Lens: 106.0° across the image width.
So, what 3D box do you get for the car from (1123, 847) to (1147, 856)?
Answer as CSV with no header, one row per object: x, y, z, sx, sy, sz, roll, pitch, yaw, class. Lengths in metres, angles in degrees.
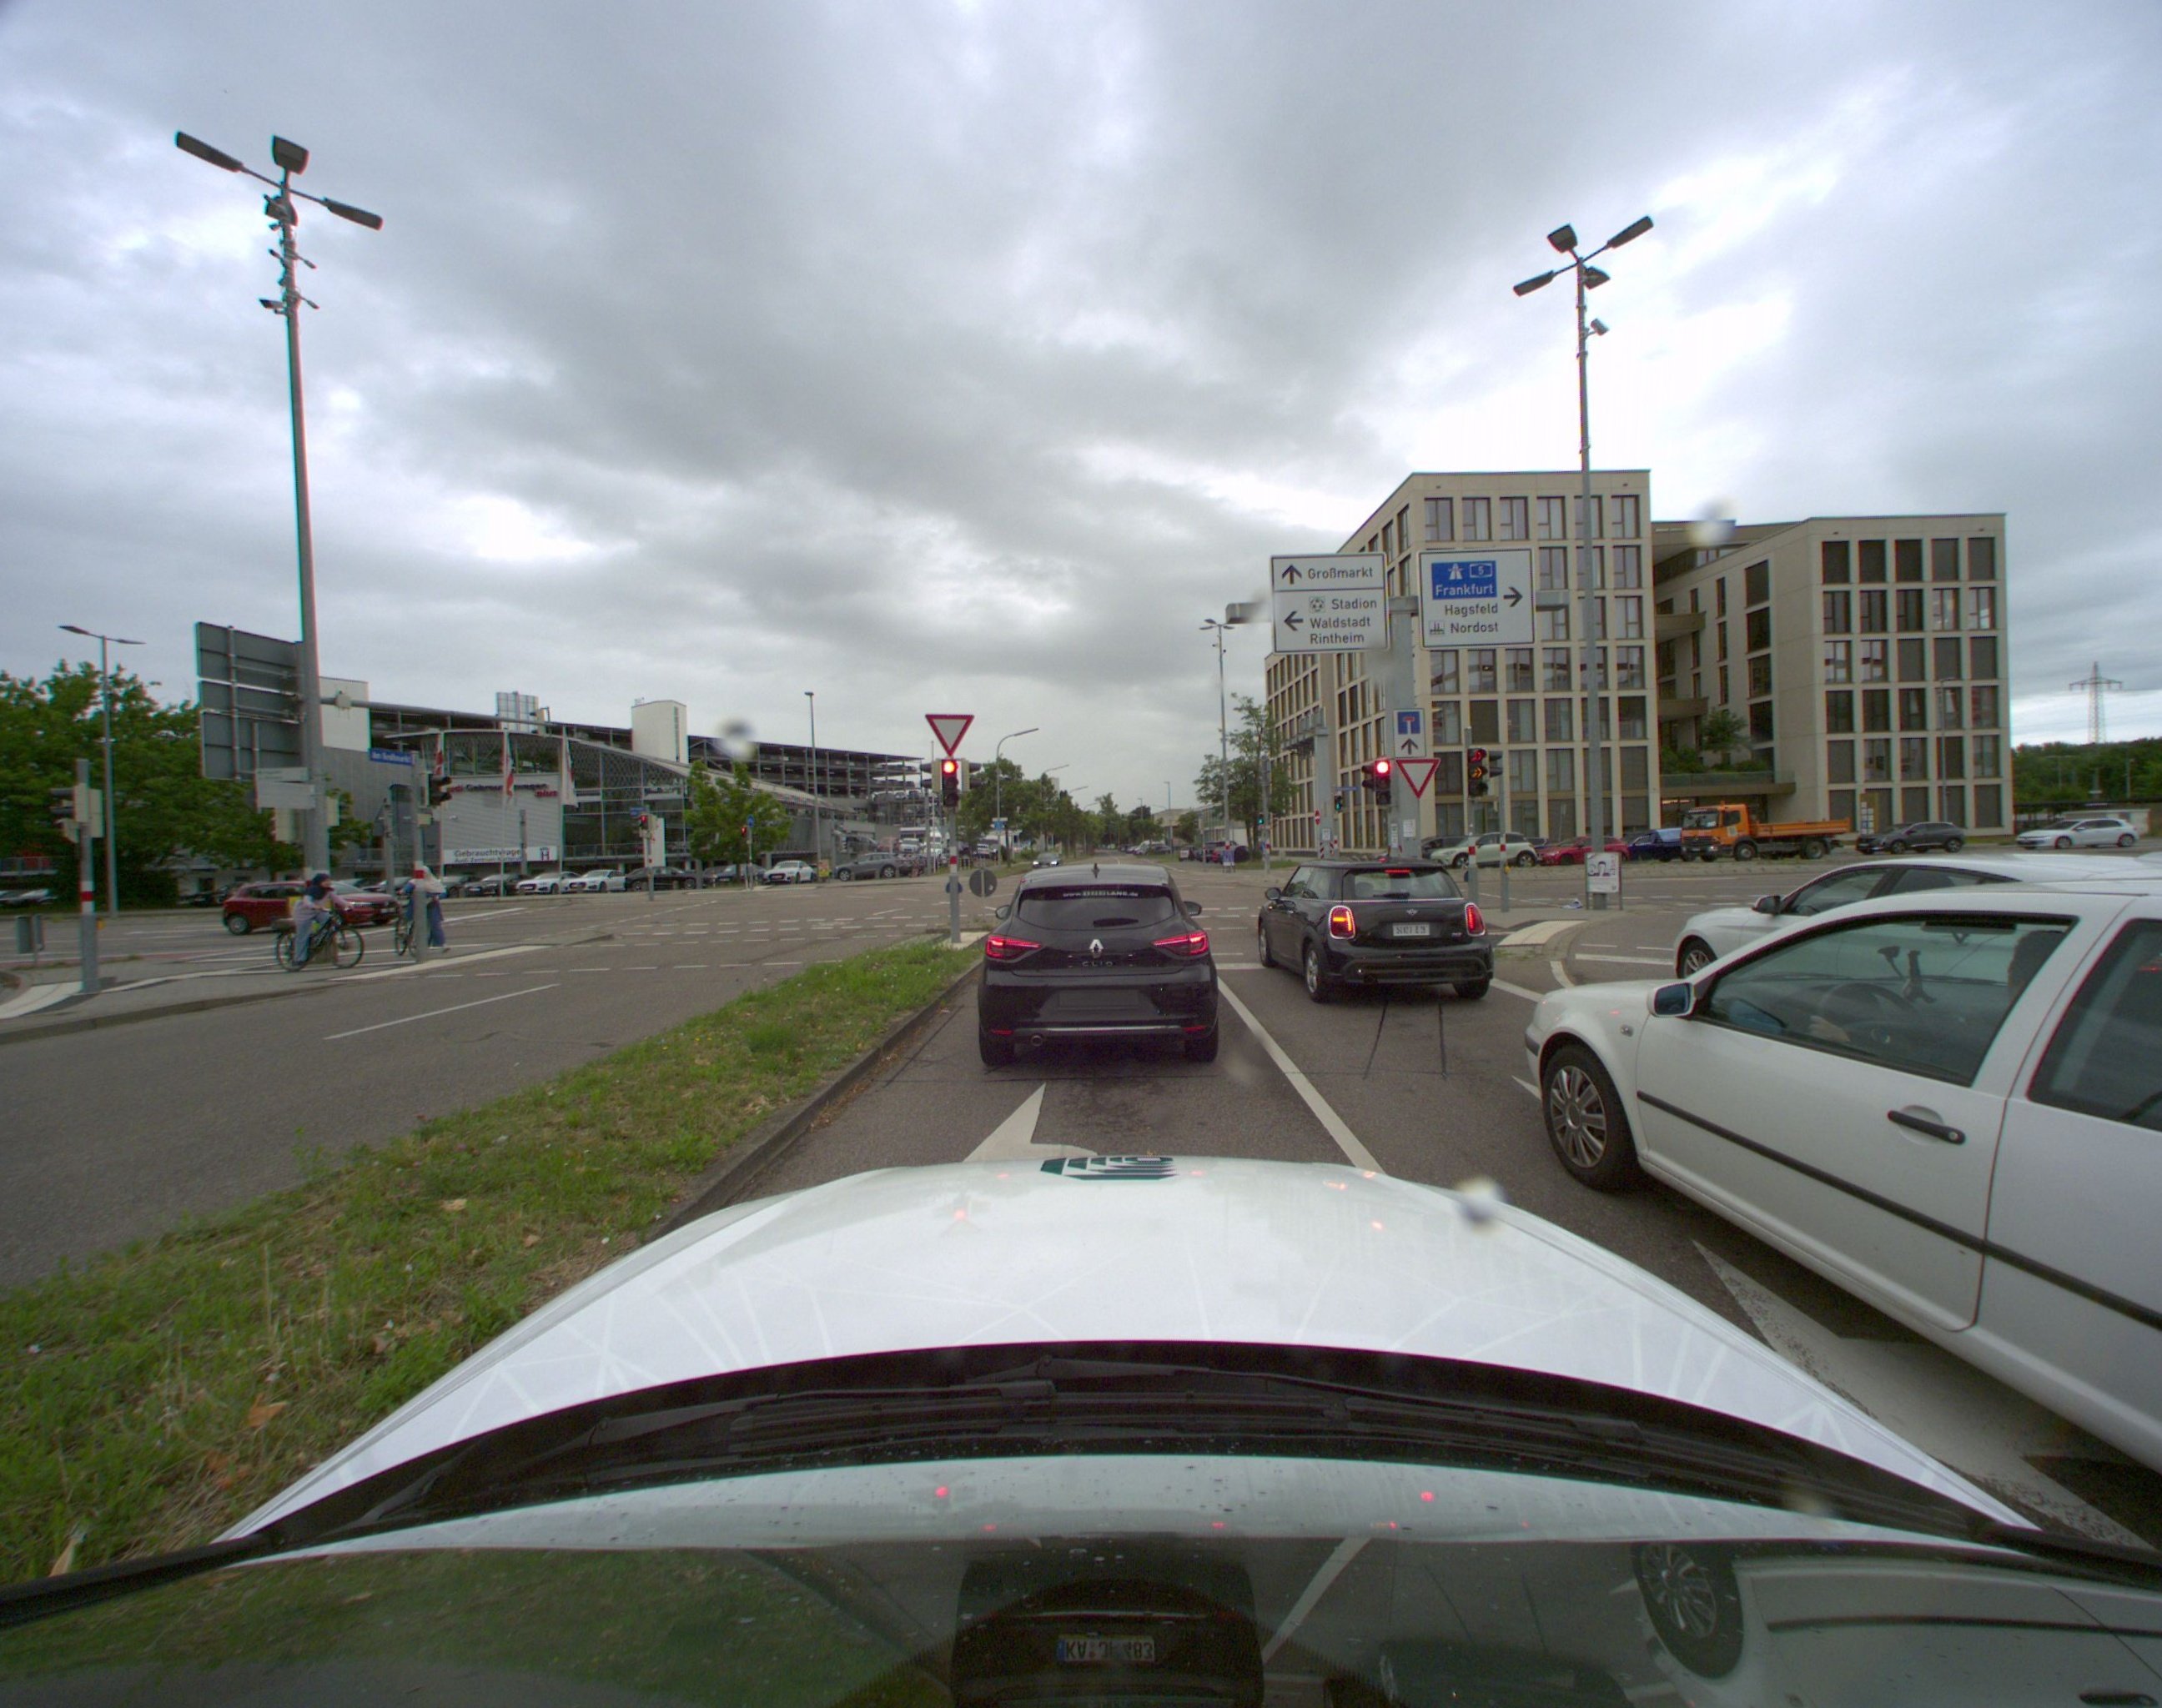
12.057,-0.633,182.156,5.156,2.014,2.144,0,-1,0,car

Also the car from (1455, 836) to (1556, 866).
21.395,-0.141,41.135,4.126,1.490,1.870,0,-1,-3,car

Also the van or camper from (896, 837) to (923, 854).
-17.658,-0.817,83.951,1.988,1.651,3.997,0,-1,-2,van or camper

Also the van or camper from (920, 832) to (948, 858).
-17.175,-1.026,95.310,2.529,3.026,4.840,0,-1,-2,van or camper

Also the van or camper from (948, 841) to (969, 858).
-14.328,-0.502,95.228,1.988,2.014,3.997,0,-1,-2,van or camper

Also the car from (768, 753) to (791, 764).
-56.957,-17.985,153.729,3.948,1.667,2.013,-1,0,33,car

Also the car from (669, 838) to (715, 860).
-30.514,-0.402,63.968,1.815,1.662,3.996,0,-1,-3,car

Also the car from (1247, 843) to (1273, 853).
24.295,-0.844,110.491,3.238,1.332,1.477,0,-1,-17,car

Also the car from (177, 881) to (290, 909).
-46.617,2.242,44.941,1.845,1.421,4.214,-2,-2,-2,car

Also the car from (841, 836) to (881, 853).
-24.505,-1.091,90.862,3.975,1.838,1.759,0,-1,-1,car

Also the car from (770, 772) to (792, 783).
-56.693,-14.424,153.802,3.948,1.667,2.013,-1,0,33,car

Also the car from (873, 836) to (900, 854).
-20.095,-0.913,84.250,1.988,1.849,3.997,0,-1,-2,car

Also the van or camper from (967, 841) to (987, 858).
-12.129,-0.517,95.367,1.988,2.014,3.997,0,-1,-2,van or camper

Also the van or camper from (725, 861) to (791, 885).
-23.425,1.379,59.141,3.977,1.677,1.998,0,-1,-3,van or camper

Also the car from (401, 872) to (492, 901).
-35.540,1.835,45.741,1.897,1.486,4.186,-2,-2,-2,car

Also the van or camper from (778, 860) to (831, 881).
-23.735,1.403,70.006,3.977,1.711,1.846,0,-1,-2,van or camper

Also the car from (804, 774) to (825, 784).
-52.395,-14.722,160.141,3.948,1.667,2.013,-1,0,33,car

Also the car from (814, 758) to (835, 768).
-51.131,-18.165,162.419,3.948,1.667,2.013,-1,0,33,car

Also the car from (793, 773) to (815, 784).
-53.811,-14.663,158.048,3.948,1.667,2.013,-1,0,33,car

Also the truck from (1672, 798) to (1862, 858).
32.059,-1.171,38.243,6.633,2.638,2.820,0,-1,-1,truck

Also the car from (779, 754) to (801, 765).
-55.610,-17.980,155.566,3.948,1.667,2.013,-1,0,33,car

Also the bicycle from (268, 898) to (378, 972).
-12.650,1.348,13.581,1.924,1.166,0.511,-3,-2,20,bicycle

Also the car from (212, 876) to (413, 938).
-22.660,1.545,24.151,4.058,1.487,1.738,-3,0,-5,car

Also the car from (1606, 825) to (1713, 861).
29.481,-0.561,41.595,4.126,1.769,1.998,0,-1,-3,car

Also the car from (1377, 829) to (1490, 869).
16.275,-0.215,37.748,4.396,1.769,1.998,0,-1,-3,car

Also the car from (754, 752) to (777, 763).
-58.647,-17.889,151.372,3.948,1.667,2.013,-1,0,33,car

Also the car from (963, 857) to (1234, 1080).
0.178,0.760,7.294,1.750,1.434,4.001,0,-1,2,car

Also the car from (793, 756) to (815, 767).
-53.831,-17.994,158.167,3.948,1.667,2.013,-1,0,33,car

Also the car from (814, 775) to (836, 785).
-51.010,-14.770,162.305,3.948,1.667,2.013,-1,0,33,car

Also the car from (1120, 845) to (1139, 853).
12.996,-1.409,218.822,5.156,2.014,2.144,0,-1,0,car

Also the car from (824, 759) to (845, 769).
-49.780,-18.152,164.211,3.948,1.667,2.013,-1,0,33,car

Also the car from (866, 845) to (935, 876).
-13.754,0.481,62.177,4.765,2.013,1.997,-4,0,-5,car

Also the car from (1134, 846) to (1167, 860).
10.988,-0.147,128.942,5.158,2.014,2.143,0,-1,-1,car

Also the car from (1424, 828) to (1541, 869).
16.925,-0.227,34.435,4.047,1.643,1.903,0,-1,-4,car

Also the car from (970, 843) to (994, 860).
-10.148,-0.223,83.734,1.988,1.618,3.997,0,-1,-2,car

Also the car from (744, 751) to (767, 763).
-59.691,-17.747,149.346,3.948,1.667,2.013,-1,0,33,car

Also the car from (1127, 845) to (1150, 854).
12.438,-0.988,175.544,4.771,1.891,2.143,0,-1,-1,car

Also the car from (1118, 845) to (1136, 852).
12.933,-1.626,229.891,4.771,1.891,2.143,0,-1,-1,car

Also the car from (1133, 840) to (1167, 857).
12.777,-0.946,151.530,6.096,3.116,2.134,0,-1,0,car

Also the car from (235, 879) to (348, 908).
-43.813,2.167,45.370,1.837,1.472,4.660,-1,-2,-2,car

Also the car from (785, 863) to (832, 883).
-26.088,1.803,78.045,3.979,1.838,1.757,0,-1,-4,car

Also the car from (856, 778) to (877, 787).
-45.151,-15.010,171.353,3.948,1.667,2.013,-1,0,33,car

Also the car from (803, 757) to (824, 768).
-52.601,-17.988,160.151,3.948,1.667,2.013,-1,0,33,car

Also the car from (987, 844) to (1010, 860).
-8.547,-0.186,84.389,1.987,1.618,3.999,0,-1,0,car

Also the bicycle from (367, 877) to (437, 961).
-12.435,1.184,14.894,1.909,1.396,0.601,-5,0,41,bicycle

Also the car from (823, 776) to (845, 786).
-49.768,-14.791,164.129,3.948,1.667,2.013,-1,0,33,car

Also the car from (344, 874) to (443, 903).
-38.398,1.949,45.644,1.883,1.471,4.375,-2,-2,-2,car

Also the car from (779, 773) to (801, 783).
-55.724,-14.549,155.862,3.948,1.667,2.013,-1,0,33,car

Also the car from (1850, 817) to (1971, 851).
42.574,-0.988,41.875,4.089,1.657,2.002,0,-1,3,car

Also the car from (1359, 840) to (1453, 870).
16.339,0.053,41.031,4.074,1.432,1.750,0,-1,-3,car

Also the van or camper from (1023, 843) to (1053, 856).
-8.003,-0.913,151.802,5.580,2.372,2.000,0,-1,0,van or camper

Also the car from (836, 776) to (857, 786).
-48.061,-14.916,166.659,3.948,1.667,2.013,-1,0,33,car

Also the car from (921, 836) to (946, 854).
-15.197,-0.891,84.019,1.988,1.823,3.997,0,-1,-2,car

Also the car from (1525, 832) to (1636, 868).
23.246,-0.159,37.983,3.976,1.601,1.999,0,-1,-2,car

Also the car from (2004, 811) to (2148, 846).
49.762,-1.250,40.838,4.319,1.657,2.006,-1,-1,10,car
